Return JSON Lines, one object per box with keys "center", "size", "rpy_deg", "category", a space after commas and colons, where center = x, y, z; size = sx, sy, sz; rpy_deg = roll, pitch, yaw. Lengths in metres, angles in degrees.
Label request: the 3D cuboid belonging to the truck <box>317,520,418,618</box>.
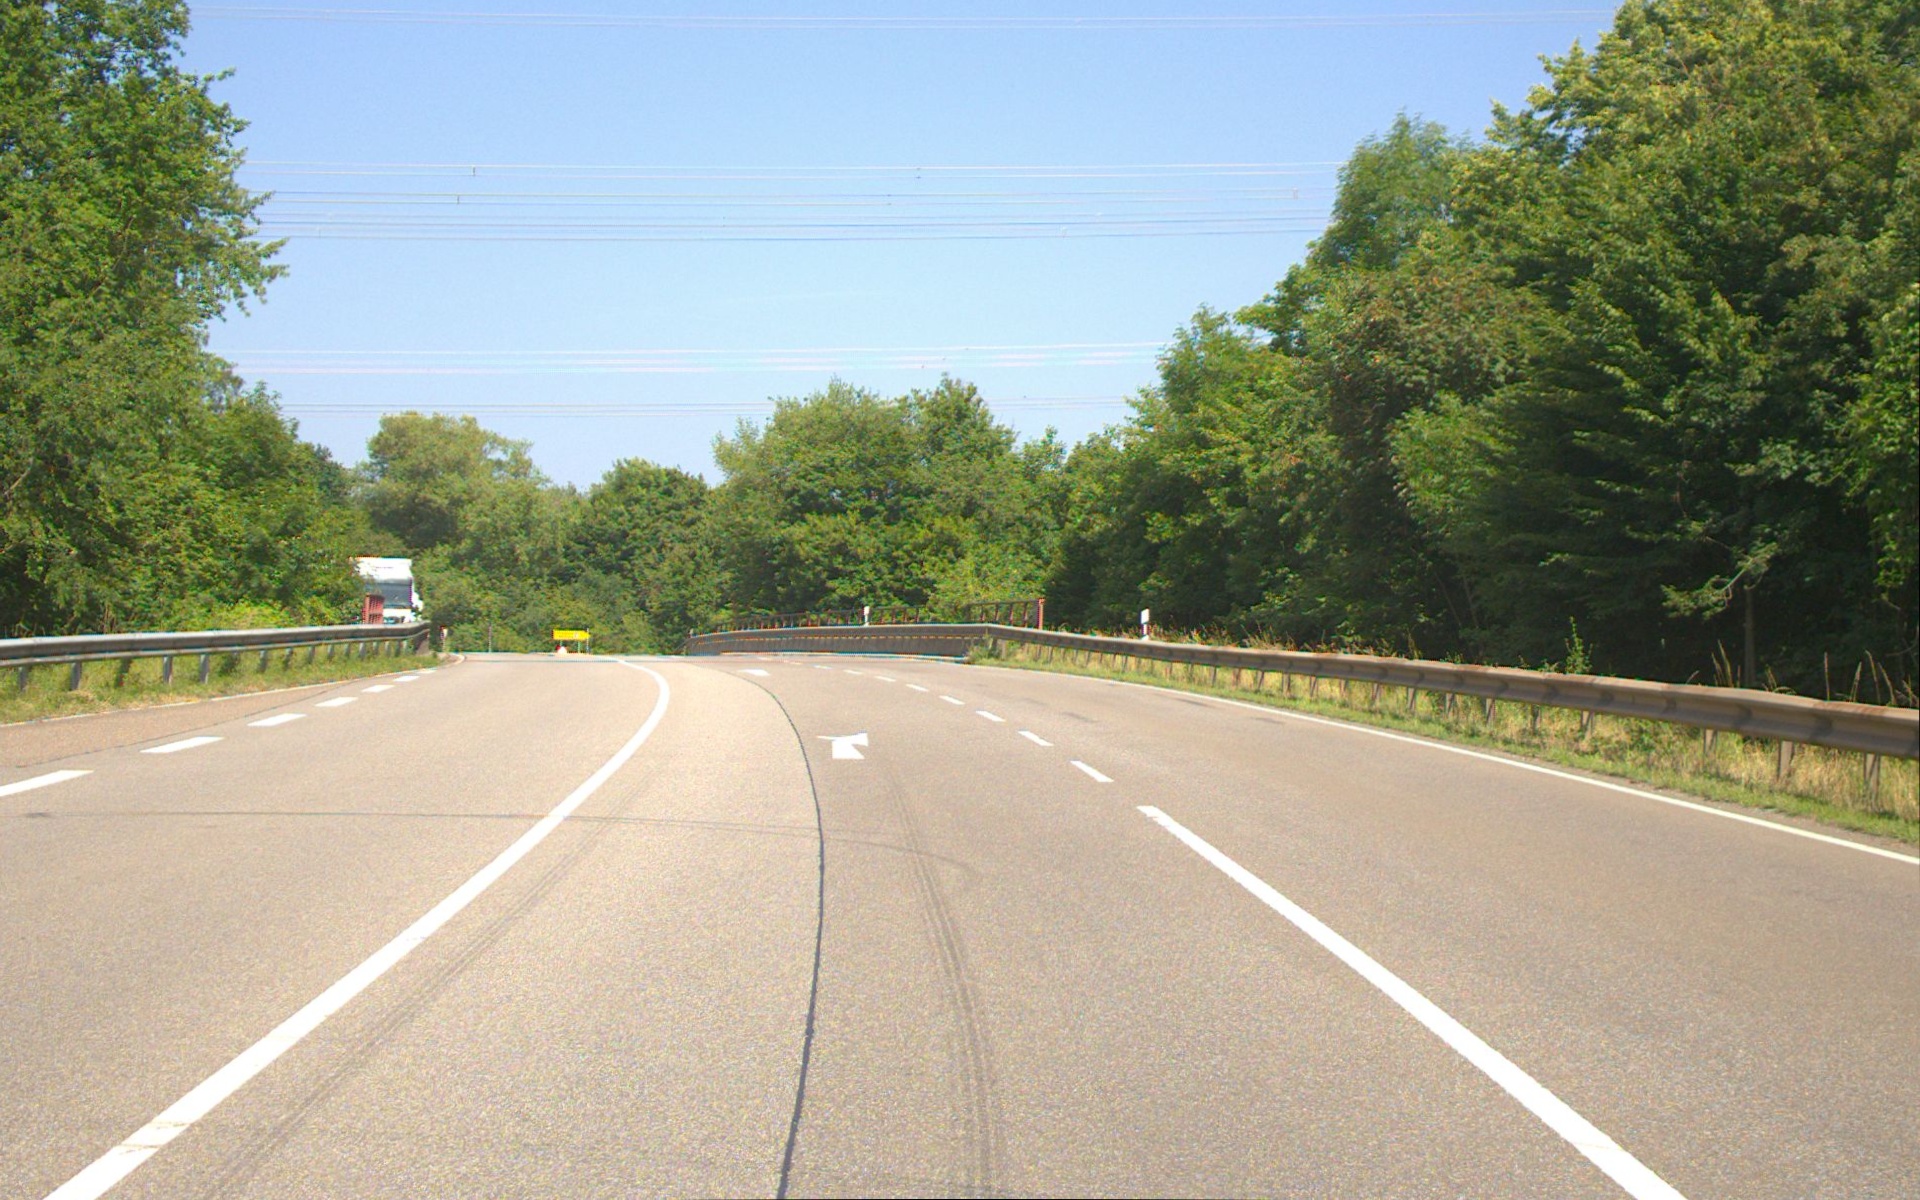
{"center": [-24.838, -1.278, 143.975], "size": [2.768, 4.020, 5.856], "rpy_deg": [0, 0, -24], "category": "truck"}
